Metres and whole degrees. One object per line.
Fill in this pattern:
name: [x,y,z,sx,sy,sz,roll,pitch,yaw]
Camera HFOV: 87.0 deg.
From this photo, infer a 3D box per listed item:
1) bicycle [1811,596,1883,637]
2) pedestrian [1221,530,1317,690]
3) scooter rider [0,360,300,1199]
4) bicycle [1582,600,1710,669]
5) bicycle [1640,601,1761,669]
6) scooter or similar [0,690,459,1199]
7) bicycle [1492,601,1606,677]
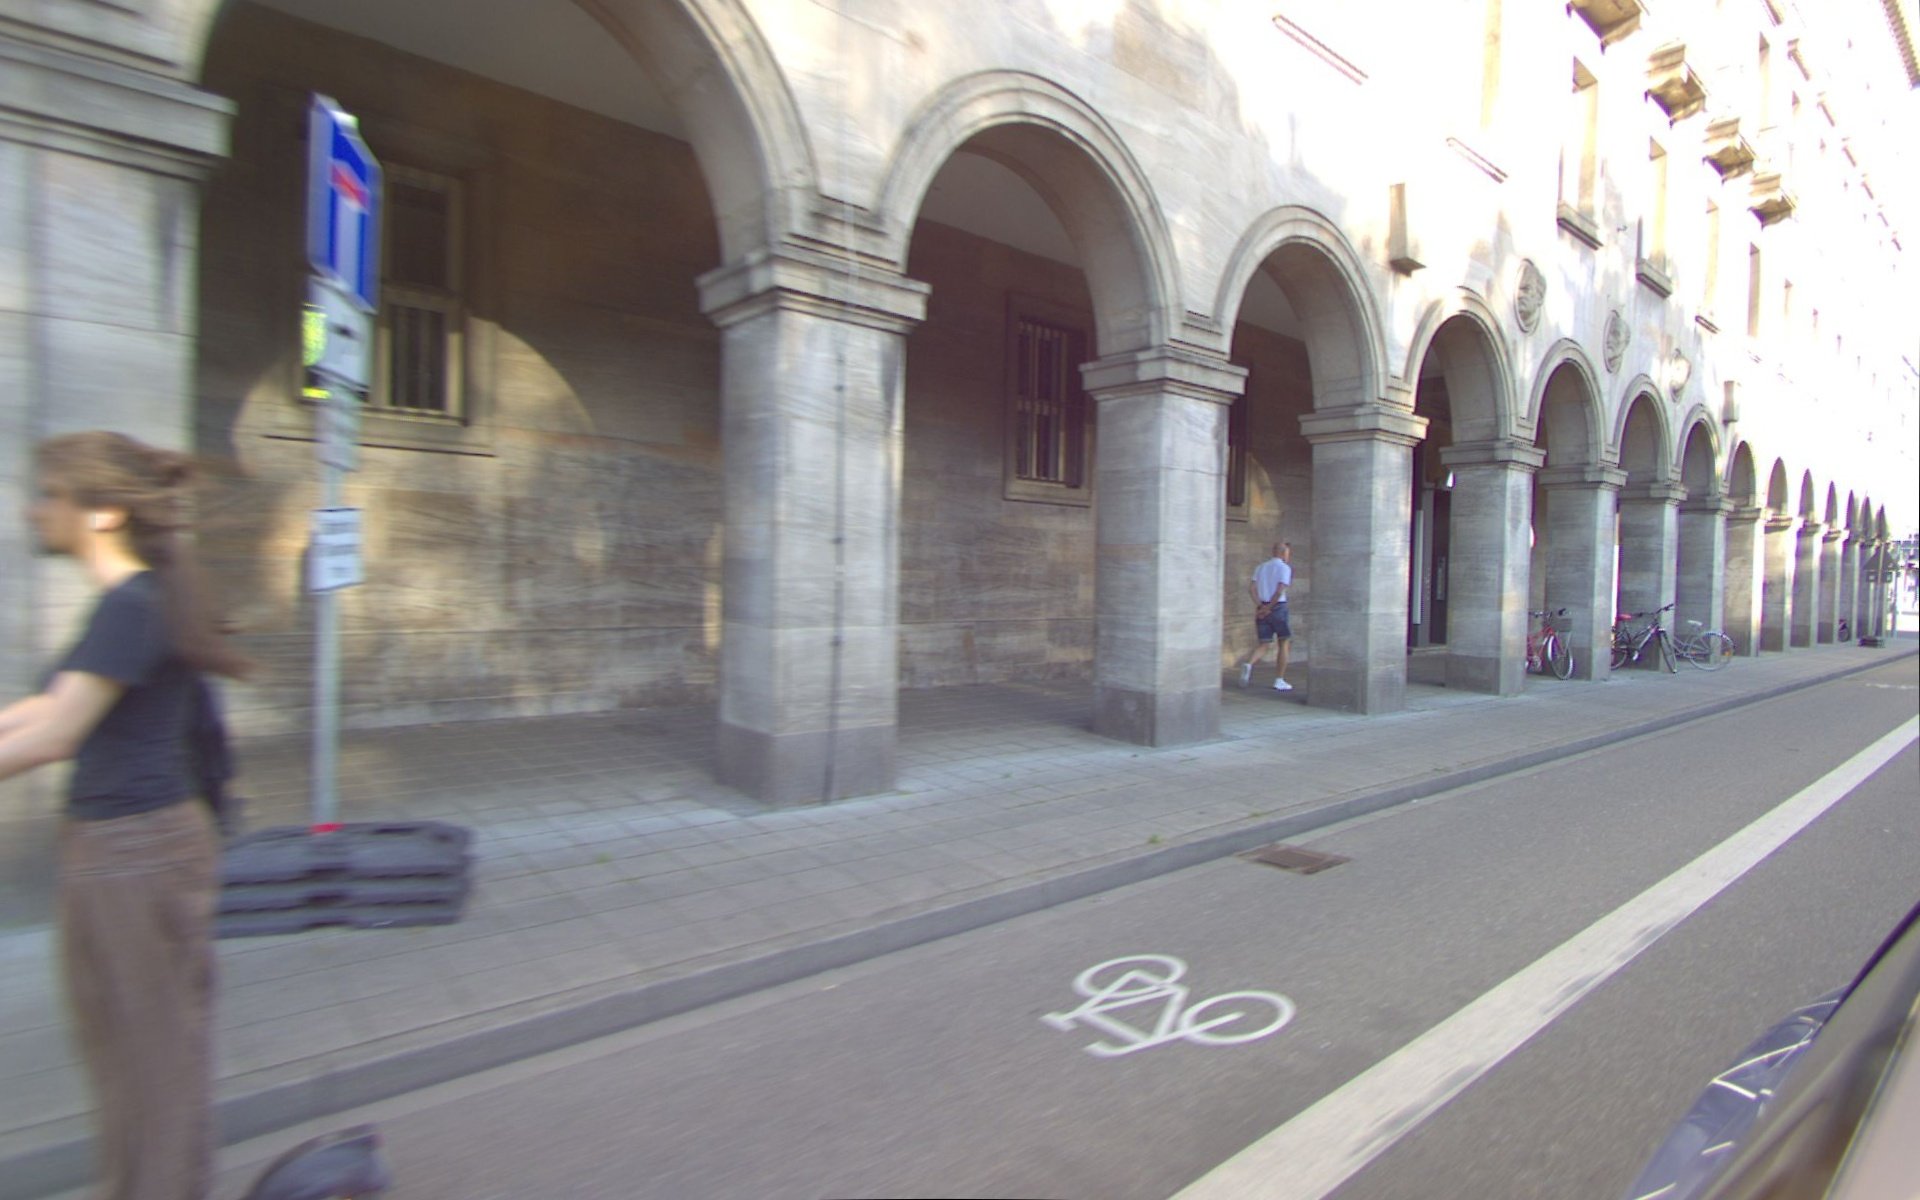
bicycle: [27.671,0.497,31.618,0.651,1.147,1.714,2,3,-1]
pedestrian: [3.756,0.103,12.290,0.948,1.855,0.630,0,2,-41]
scooter rider: [-1.675,0.424,1.947,0.638,1.652,0.563,0,1,-37]
bicycle: [11.787,0.584,17.424,1.682,1.063,0.612,3,2,3]
bicycle: [13.444,0.617,18.427,1.703,1.063,0.521,4,3,36]
scooter or similar: [-1.637,0.755,1.976,1.096,1.044,0.557,0,2,-36]
bicycle: [8.699,0.573,14.932,1.677,1.063,0.473,1,2,-22]
